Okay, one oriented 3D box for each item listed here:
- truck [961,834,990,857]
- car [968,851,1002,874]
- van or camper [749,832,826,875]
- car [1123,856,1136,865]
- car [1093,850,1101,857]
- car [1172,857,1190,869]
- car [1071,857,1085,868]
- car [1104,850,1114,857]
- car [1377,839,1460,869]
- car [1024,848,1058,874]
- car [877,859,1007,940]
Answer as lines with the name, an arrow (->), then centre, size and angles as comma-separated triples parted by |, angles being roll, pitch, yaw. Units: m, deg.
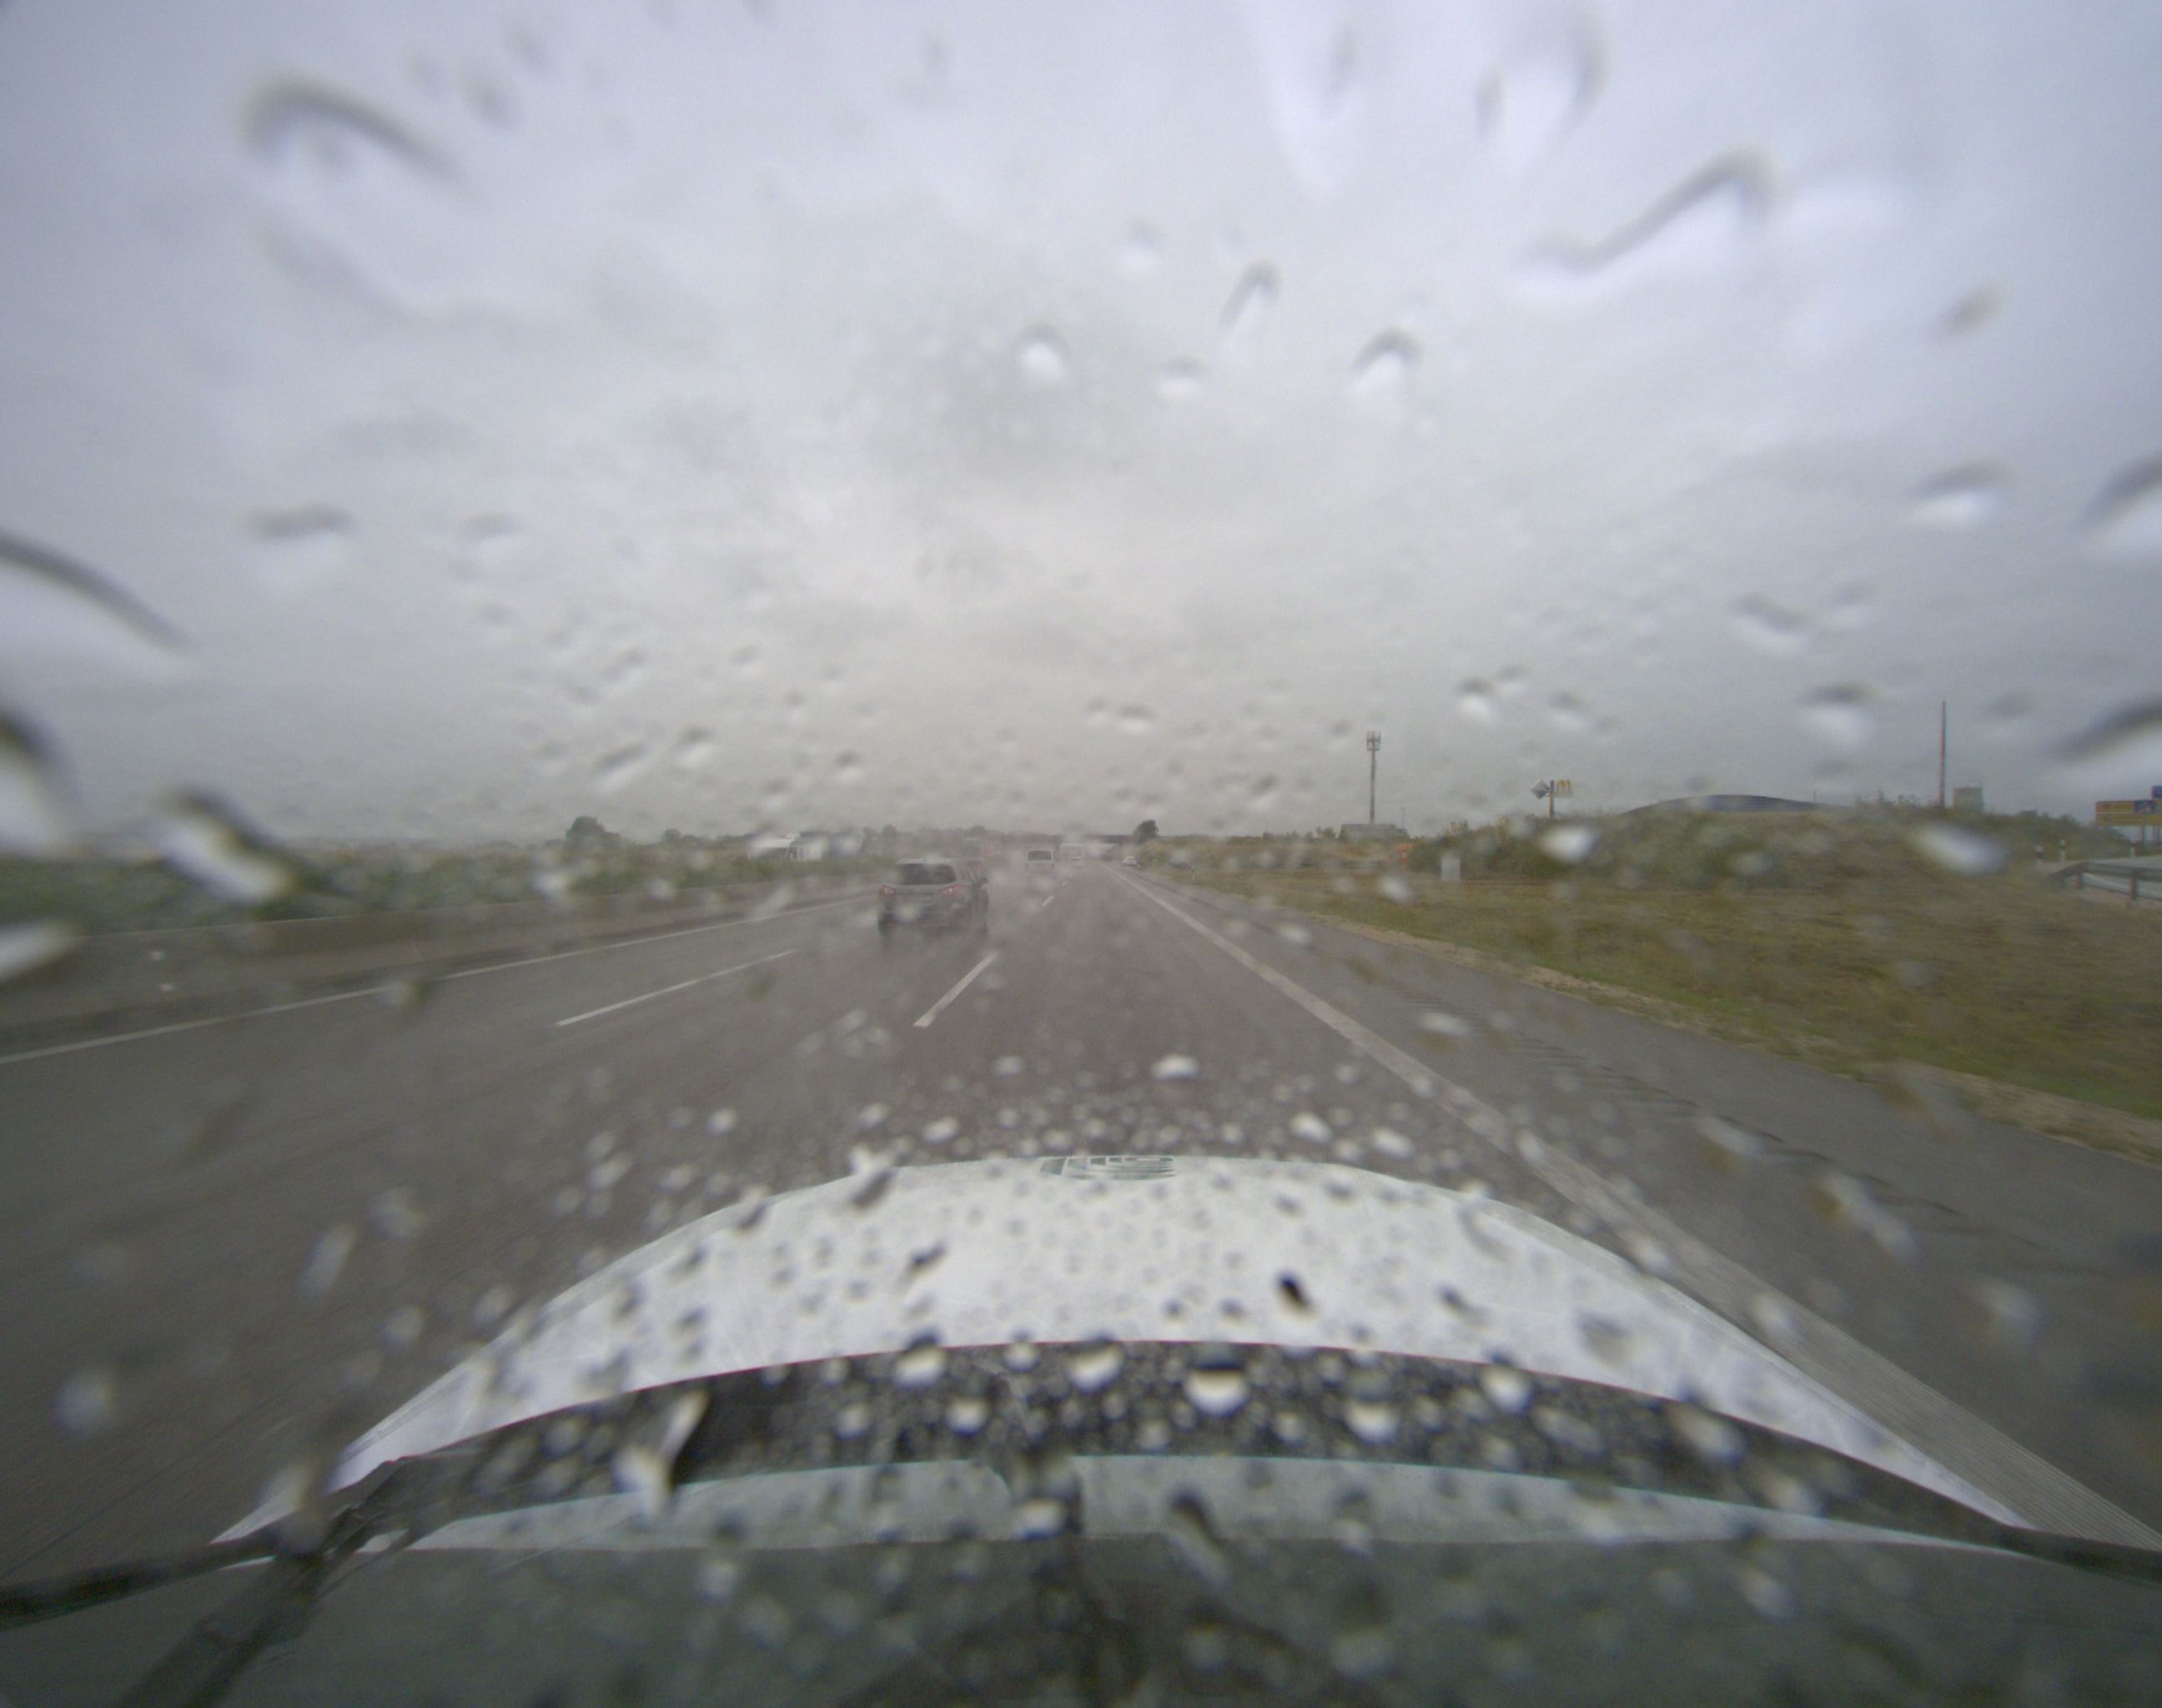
truck -> -16.905, -1.337, 130.781 | 3.255, 3.441, 10.129 | -1, 0, 0
car -> -5.906, 0.506, 50.470 | 1.607, 1.354, 4.000 | 0, -1, 1
van or camper -> -18.081, -0.055, 50.673 | 2.366, 2.508, 6.755 | 0, 0, 0
car -> 7.353, 0.991, 123.986 | 1.986, 1.266, 4.002 | 0, -1, 2
car -> 4.462, -0.187, 228.110 | 1.989, 2.101, 3.996 | 0, 0, -2
car -> 12.650, 1.140, 103.419 | 1.727, 1.421, 3.654 | 0, 0, -3
car -> -0.320, 0.910, 87.723 | 1.462, 1.208, 2.992 | 0, -1, 2
car -> 5.848, -0.103, 170.311 | 1.796, 1.508, 3.997 | 0, 0, -2
car -> 31.368, -0.030, 75.821 | 6.797, 2.615, 2.081 | 1, 0, 34
car -> -2.446, 0.439, 51.180 | 1.891, 1.585, 4.000 | 0, -1, 0
car -> -2.881, 0.891, 17.983 | 1.839, 1.513, 4.760 | -1, 0, 3
